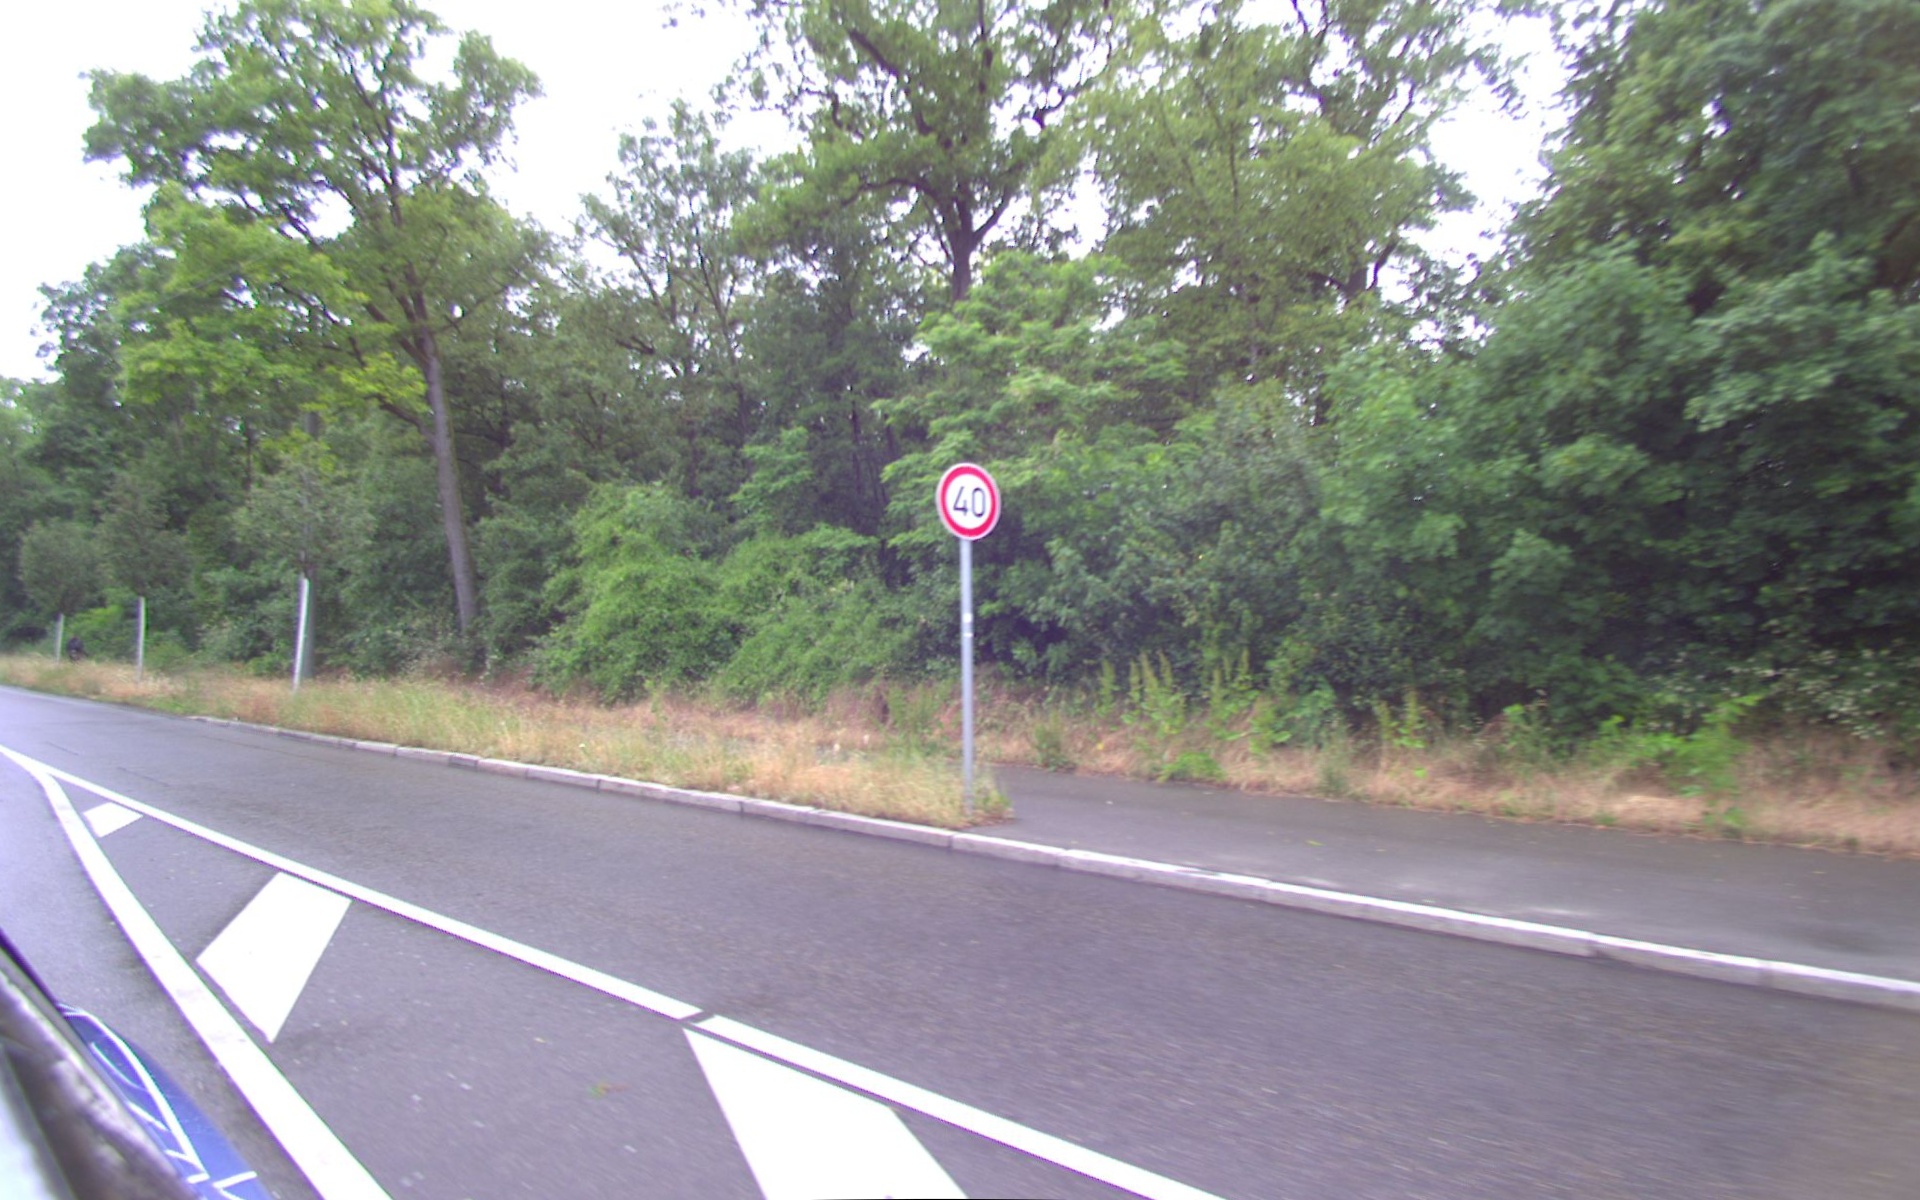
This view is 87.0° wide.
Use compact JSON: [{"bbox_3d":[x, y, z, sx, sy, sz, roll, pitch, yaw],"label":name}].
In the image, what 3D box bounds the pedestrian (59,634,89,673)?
[{"bbox_3d":[-36.673,2.205,41.902,0.731,1.620,0.773,-2,-3,38],"label":"pedestrian"}]
